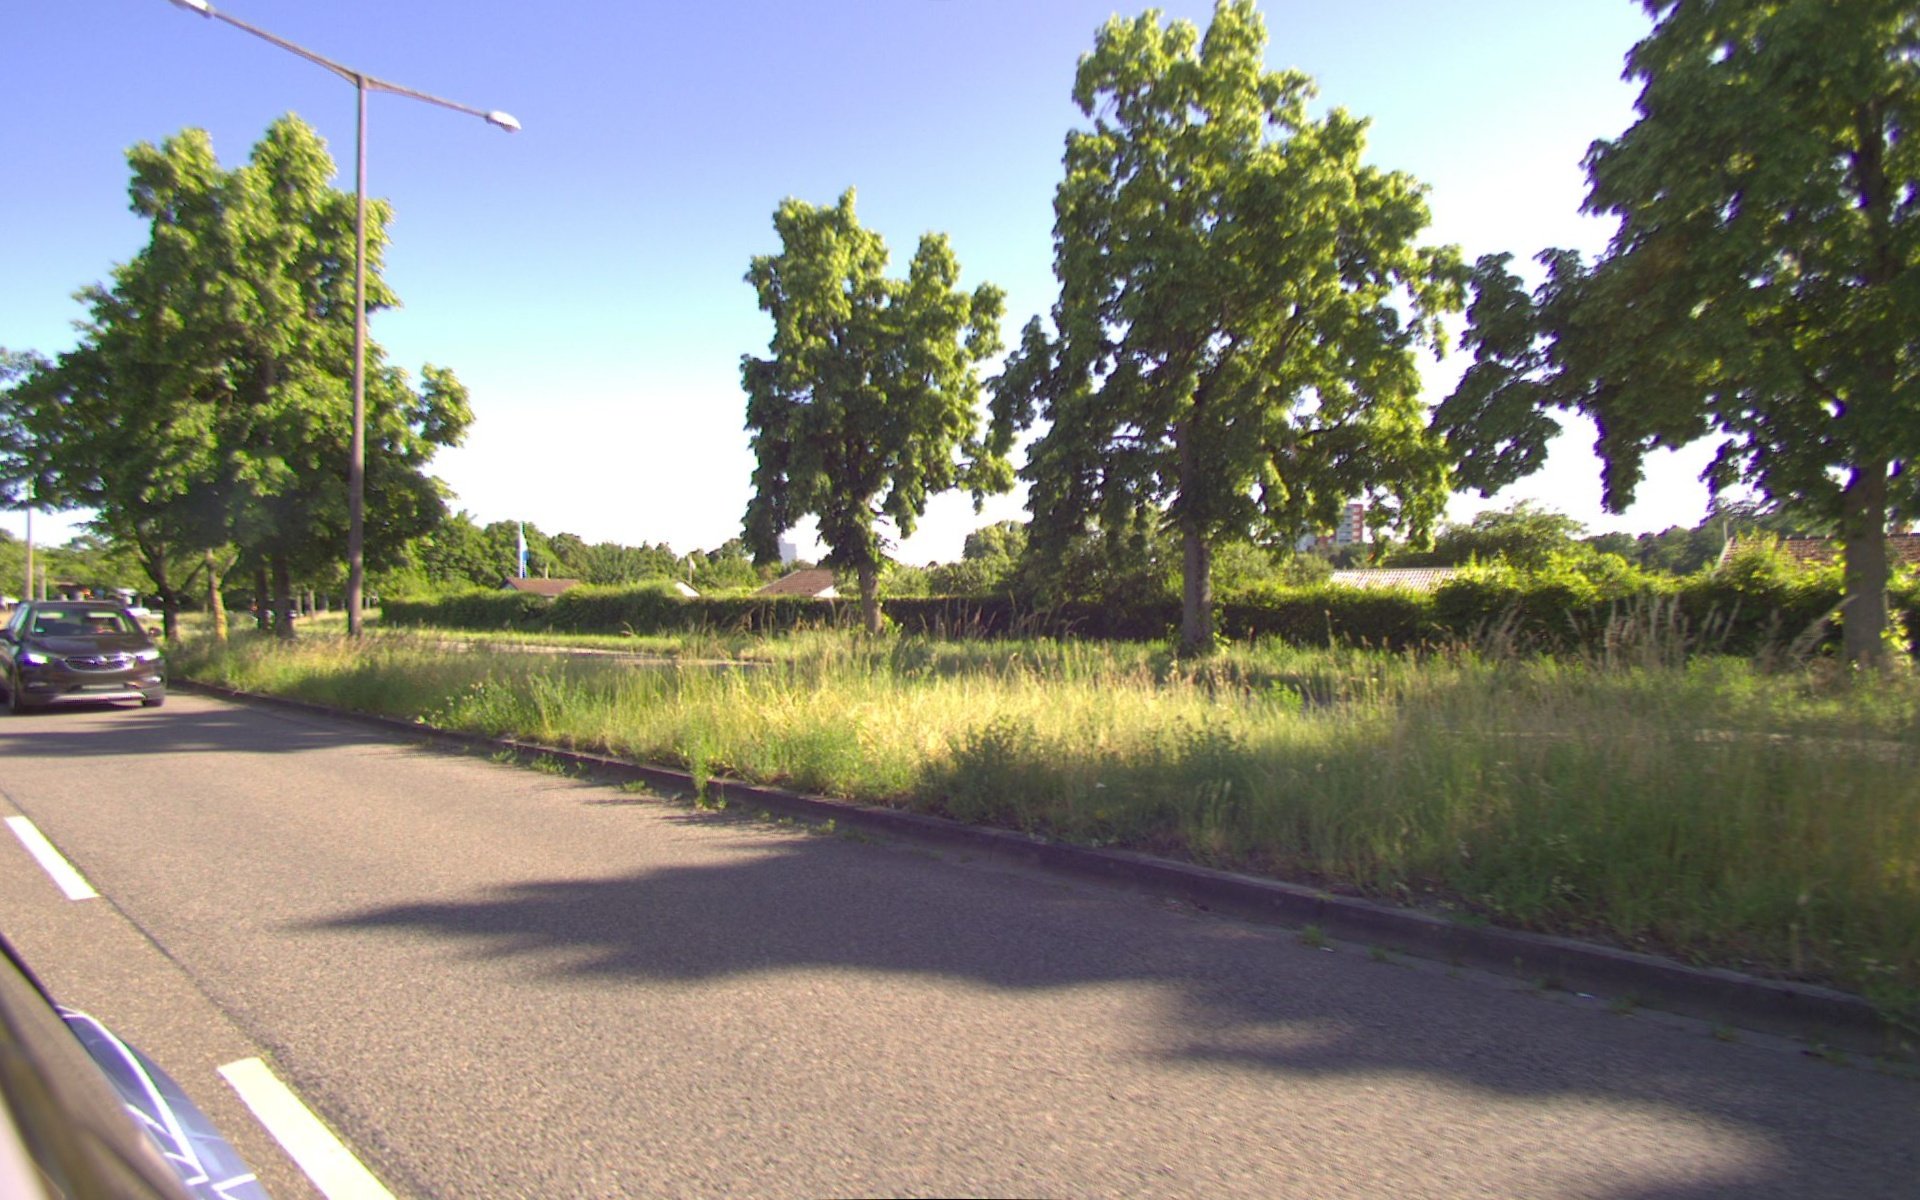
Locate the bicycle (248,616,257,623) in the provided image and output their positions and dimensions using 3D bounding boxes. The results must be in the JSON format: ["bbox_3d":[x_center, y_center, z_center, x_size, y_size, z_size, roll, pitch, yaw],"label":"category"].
[{"bbox_3d":[-67.670,1.859,96.801,0.558,0.700,1.878,0,0,-41],"label":"bicycle"}]

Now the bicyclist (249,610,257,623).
[{"bbox_3d":[-67.687,1.576,96.839,0.576,1.266,0.577,0,0,-42],"label":"bicyclist"}]

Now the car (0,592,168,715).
[{"bbox_3d":[-13.831,0.762,15.729,3.854,1.675,1.691,-1,-1,41],"label":"car"}]
